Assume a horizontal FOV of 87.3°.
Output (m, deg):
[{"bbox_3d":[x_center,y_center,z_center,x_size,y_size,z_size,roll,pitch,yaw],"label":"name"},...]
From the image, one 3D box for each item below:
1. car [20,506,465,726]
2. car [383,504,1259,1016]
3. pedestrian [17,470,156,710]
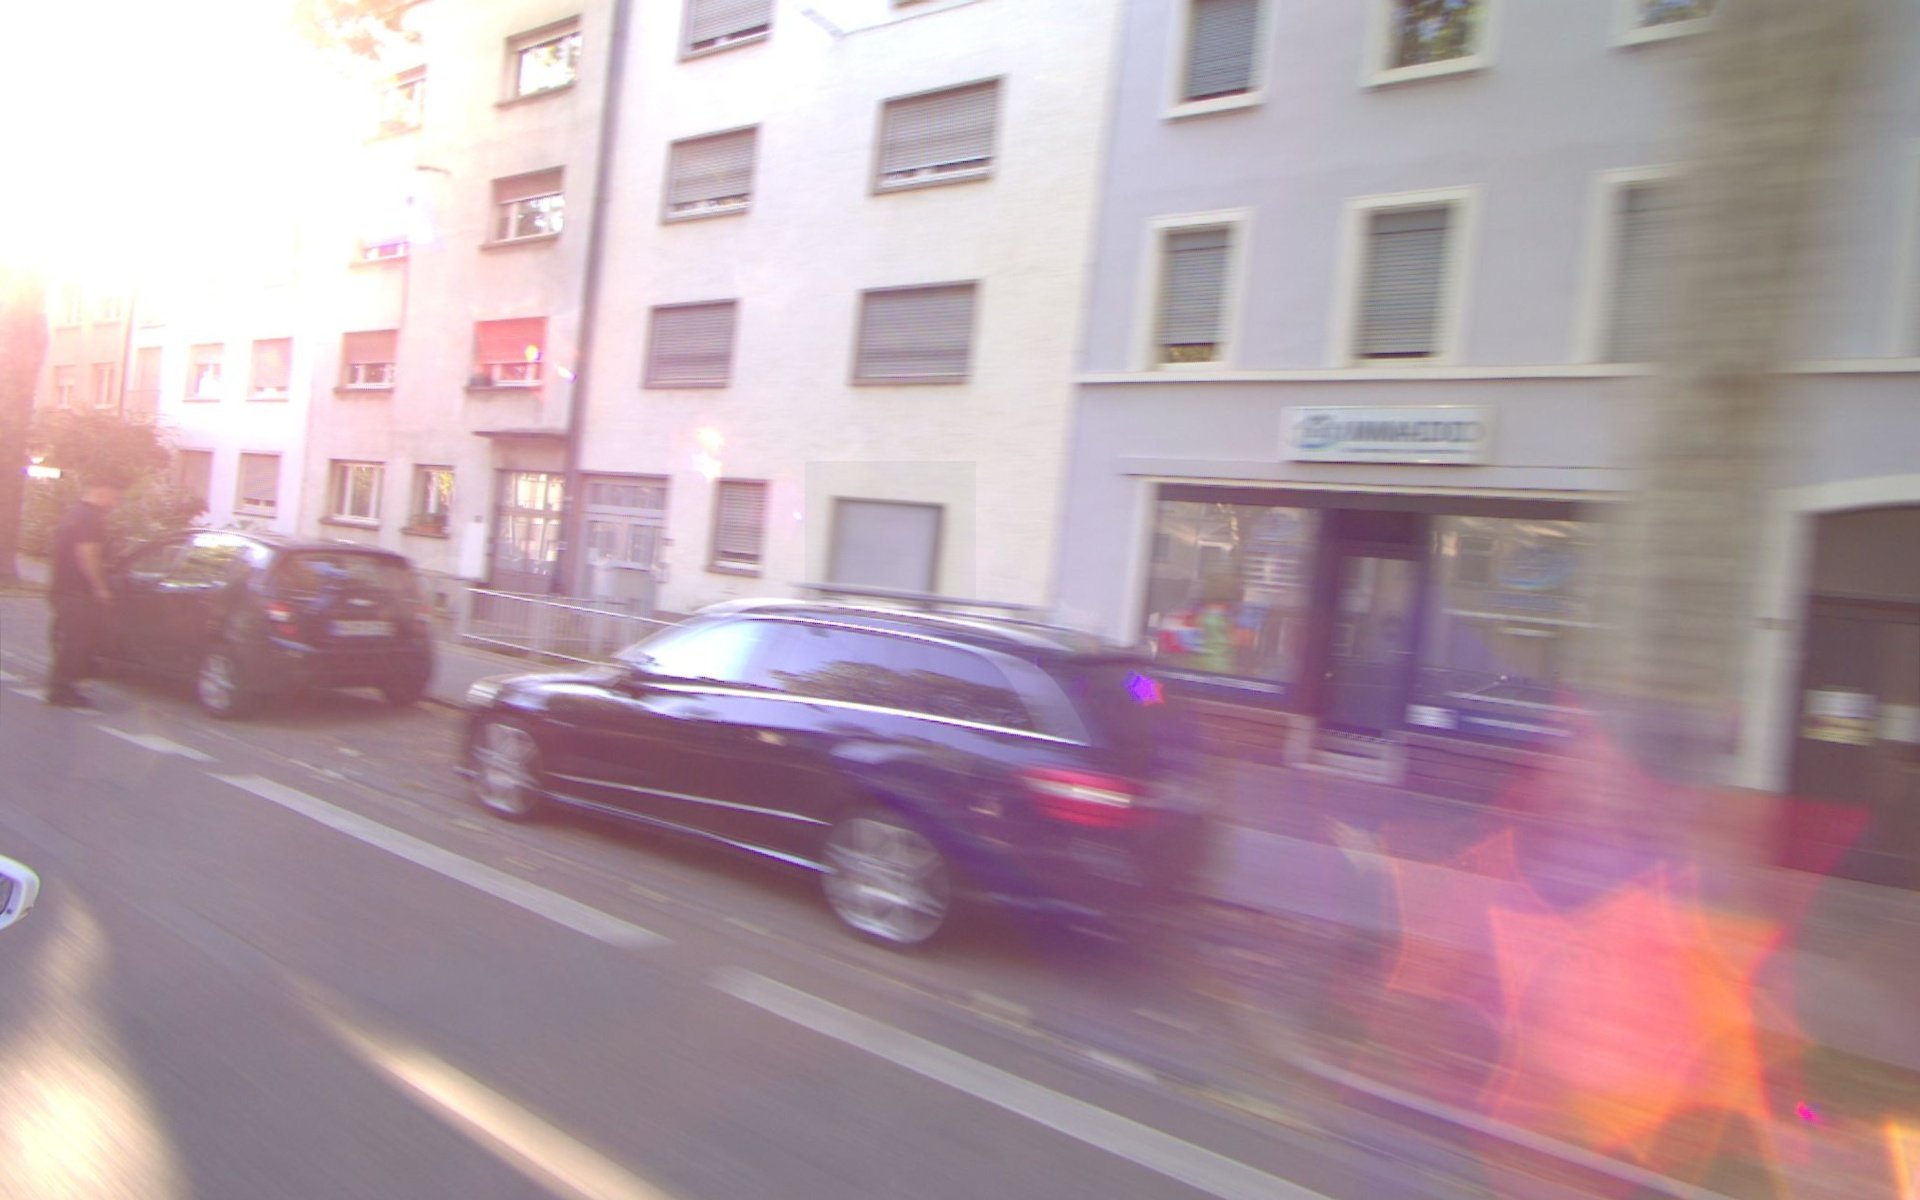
[{"bbox_3d":[-6.727,0.097,9.387,3.930,1.504,1.689,6,-1,27],"label":"car"},{"bbox_3d":[-1.025,0.559,5.869,4.905,1.791,1.747,6,-1,31],"label":"car"},{"bbox_3d":[-6.886,-0.069,7.936,0.506,1.802,0.577,7,1,31],"label":"pedestrian"}]
